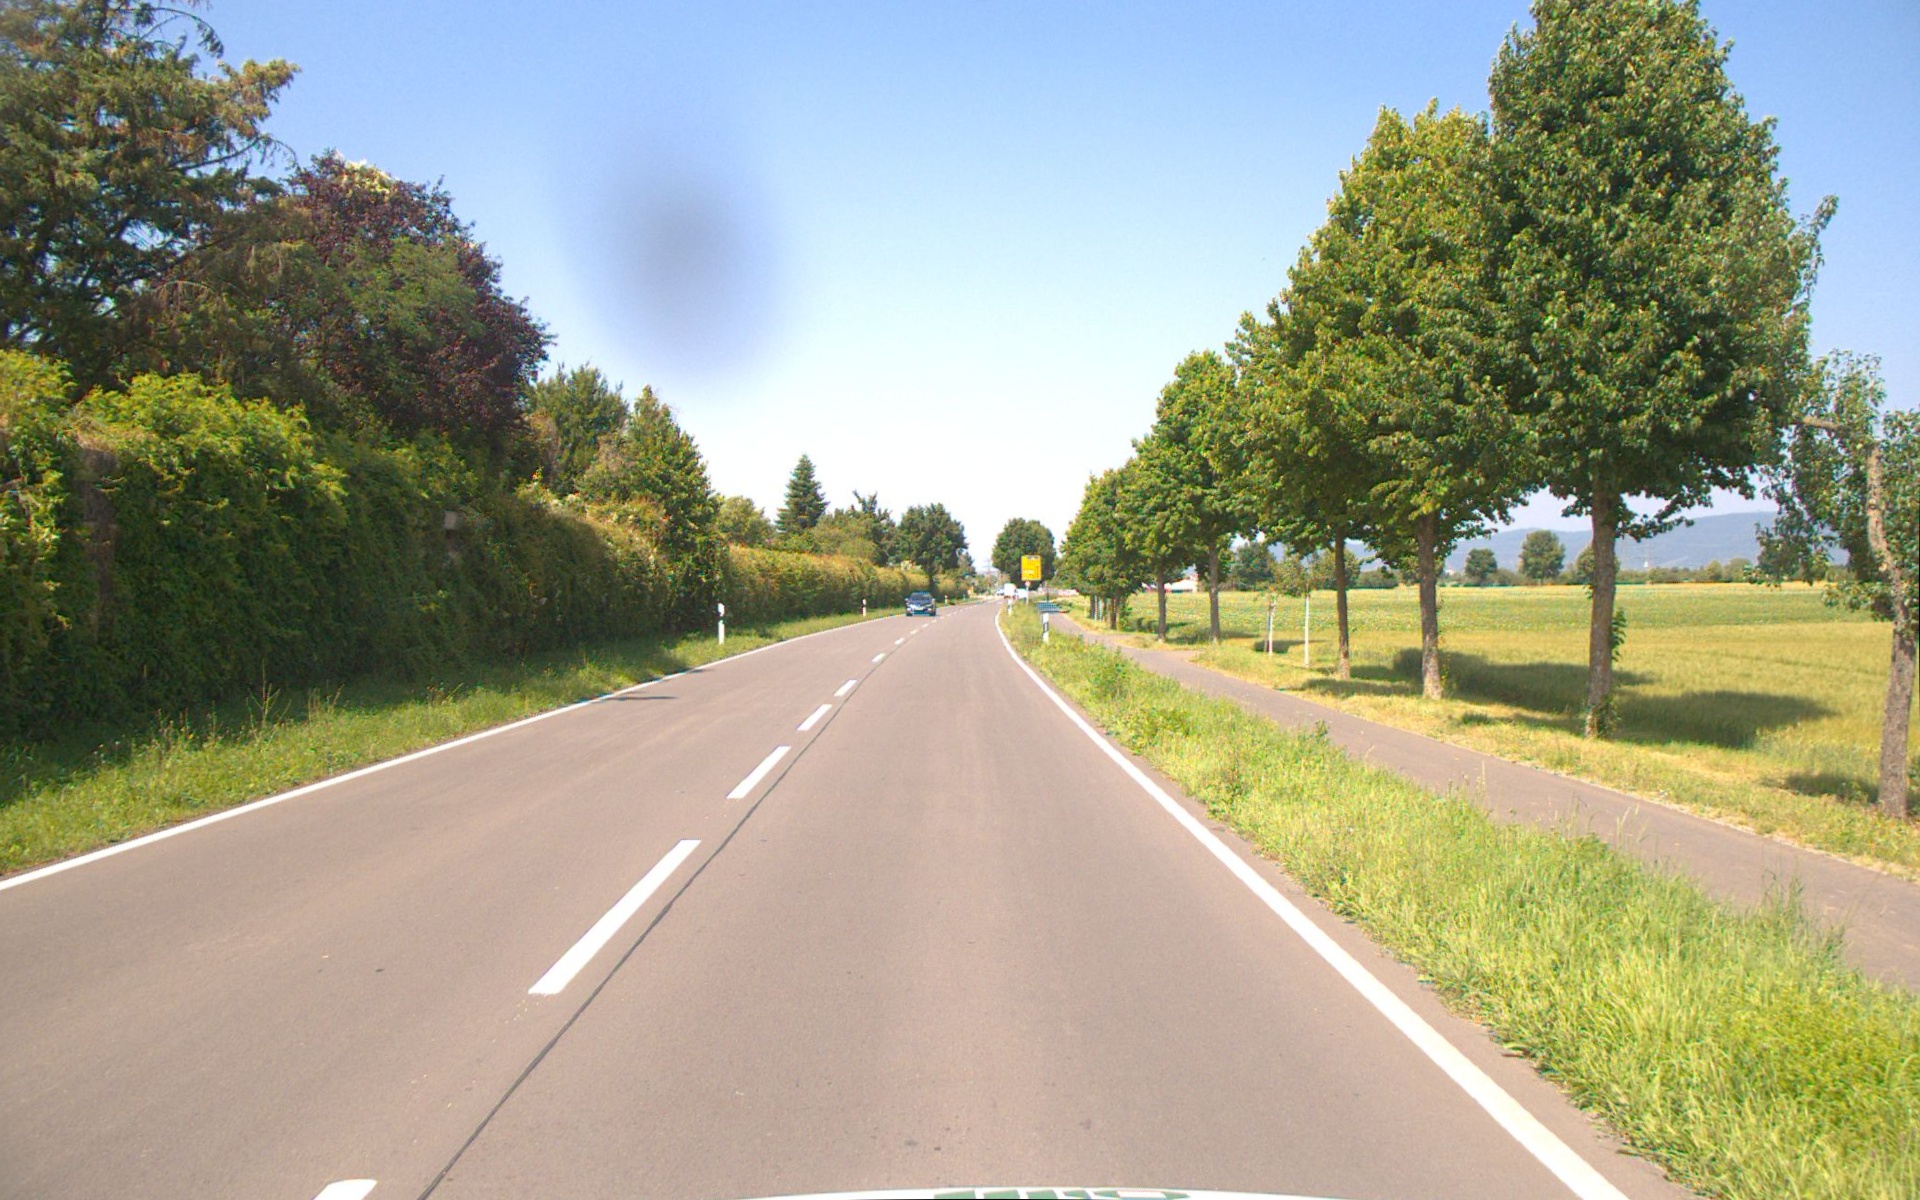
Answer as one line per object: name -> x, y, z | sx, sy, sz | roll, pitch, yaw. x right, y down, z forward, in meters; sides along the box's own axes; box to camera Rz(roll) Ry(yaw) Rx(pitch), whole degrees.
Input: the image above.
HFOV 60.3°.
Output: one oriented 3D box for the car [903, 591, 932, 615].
car -> -2.697, 0.176, 105.861 | 1.802, 1.493, 3.932 | -1, 0, -1
